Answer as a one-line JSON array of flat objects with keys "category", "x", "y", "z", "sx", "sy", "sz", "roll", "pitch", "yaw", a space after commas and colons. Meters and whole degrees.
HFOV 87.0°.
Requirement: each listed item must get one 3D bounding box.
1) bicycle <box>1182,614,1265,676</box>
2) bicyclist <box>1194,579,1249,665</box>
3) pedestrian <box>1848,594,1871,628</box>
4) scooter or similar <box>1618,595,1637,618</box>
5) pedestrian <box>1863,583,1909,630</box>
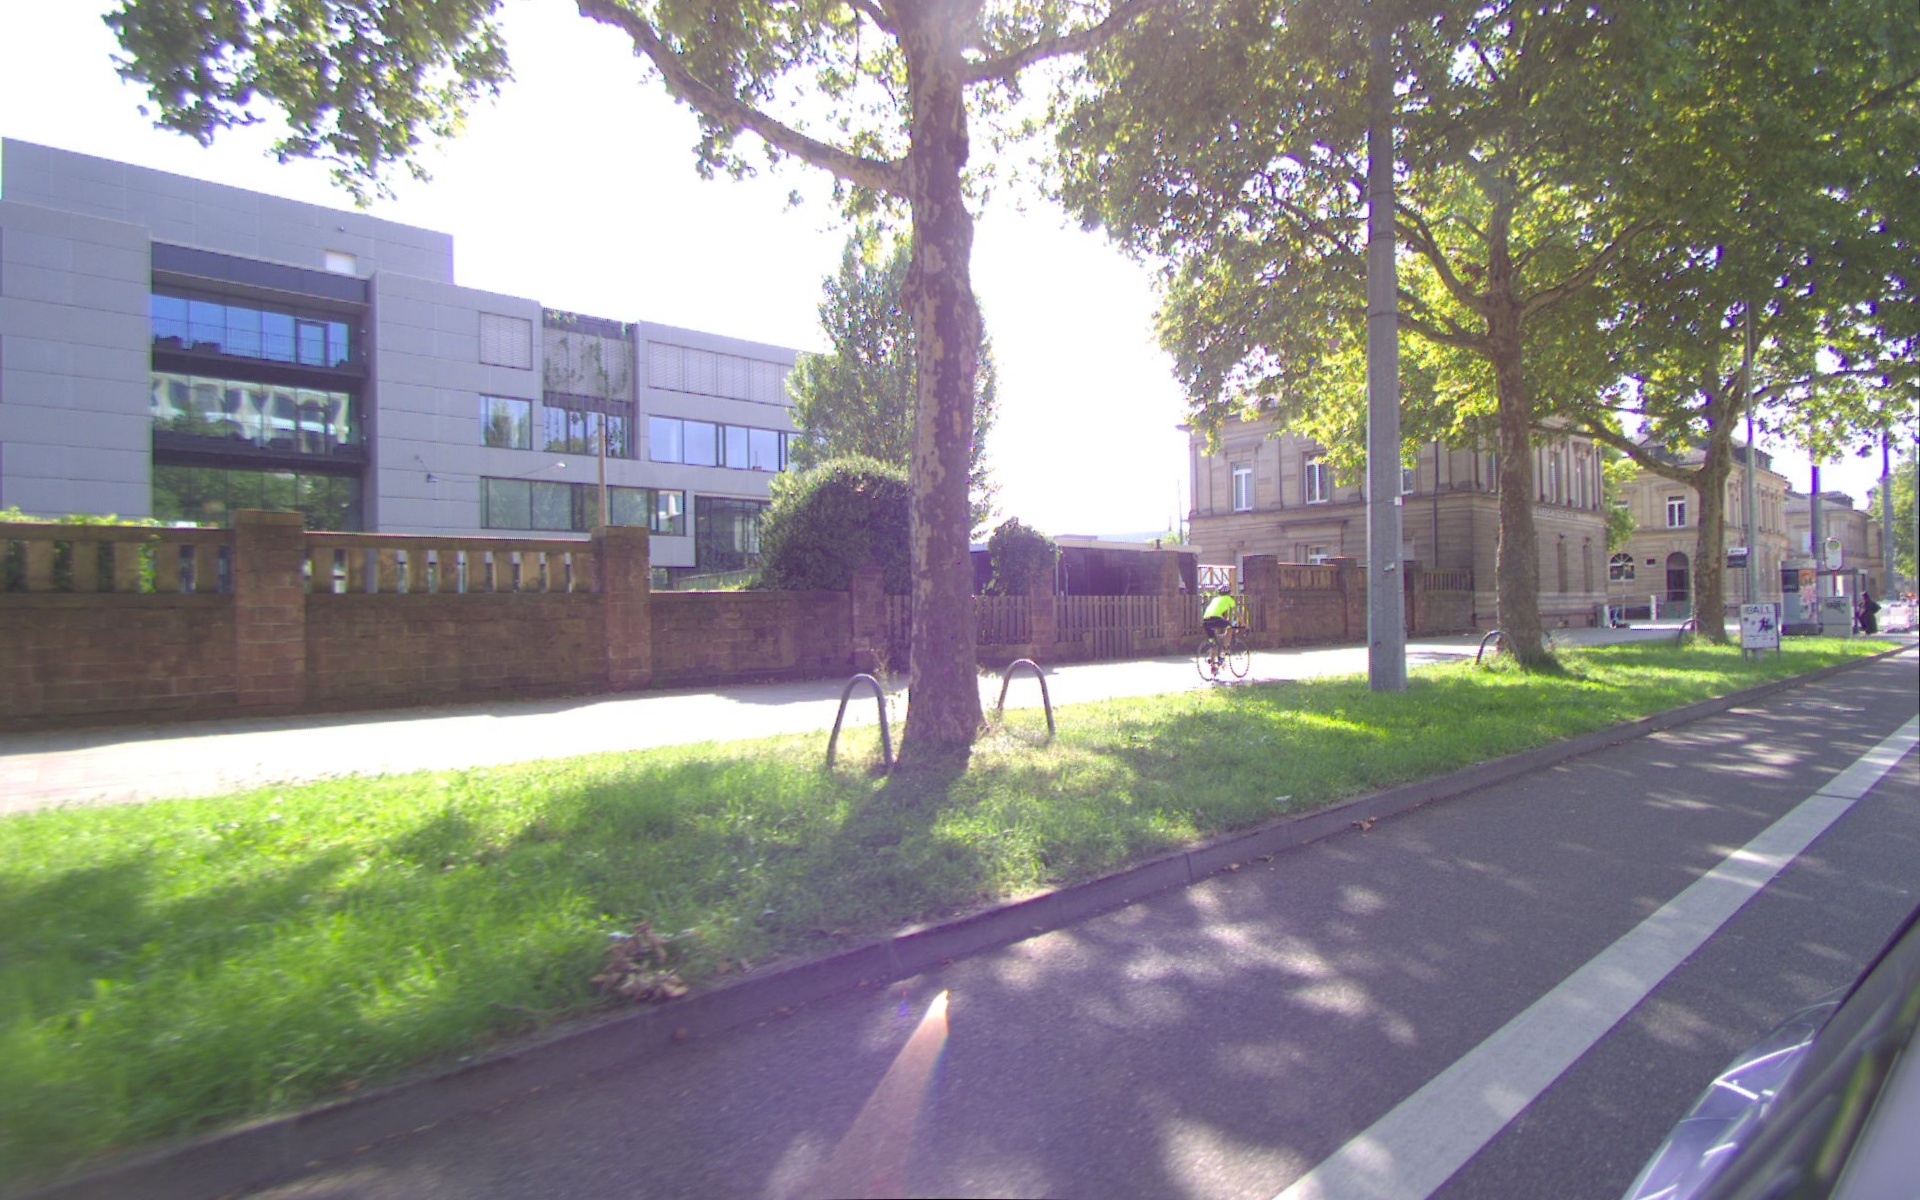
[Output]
[{"category": "bicycle", "x": 4.635, "y": 0.766, "z": 17.772, "sx": 1.683, "sy": 1.020, "sz": 0.549, "roll": 0, "pitch": -1, "yaw": -41}, {"category": "bicyclist", "x": 4.592, "y": 0.371, "z": 17.747, "sx": 0.827, "sy": 1.472, "sz": 0.549, "roll": 0, "pitch": -1, "yaw": -41}, {"category": "pedestrian", "x": 34.821, "y": 0.409, "z": 39.173, "sx": 0.746, "sy": 1.293, "sz": 0.608, "roll": 0, "pitch": 0, "yaw": -44}, {"category": "scooter or similar", "x": 34.234, "y": 0.344, "z": 51.928, "sx": 1.203, "sy": 1.181, "sz": 0.410, "roll": 0, "pitch": -1, "yaw": -37}, {"category": "pedestrian", "x": 32.514, "y": 0.227, "z": 35.541, "sx": 0.871, "sy": 1.646, "sz": 0.819, "roll": -1, "pitch": -1, "yaw": 14}]
